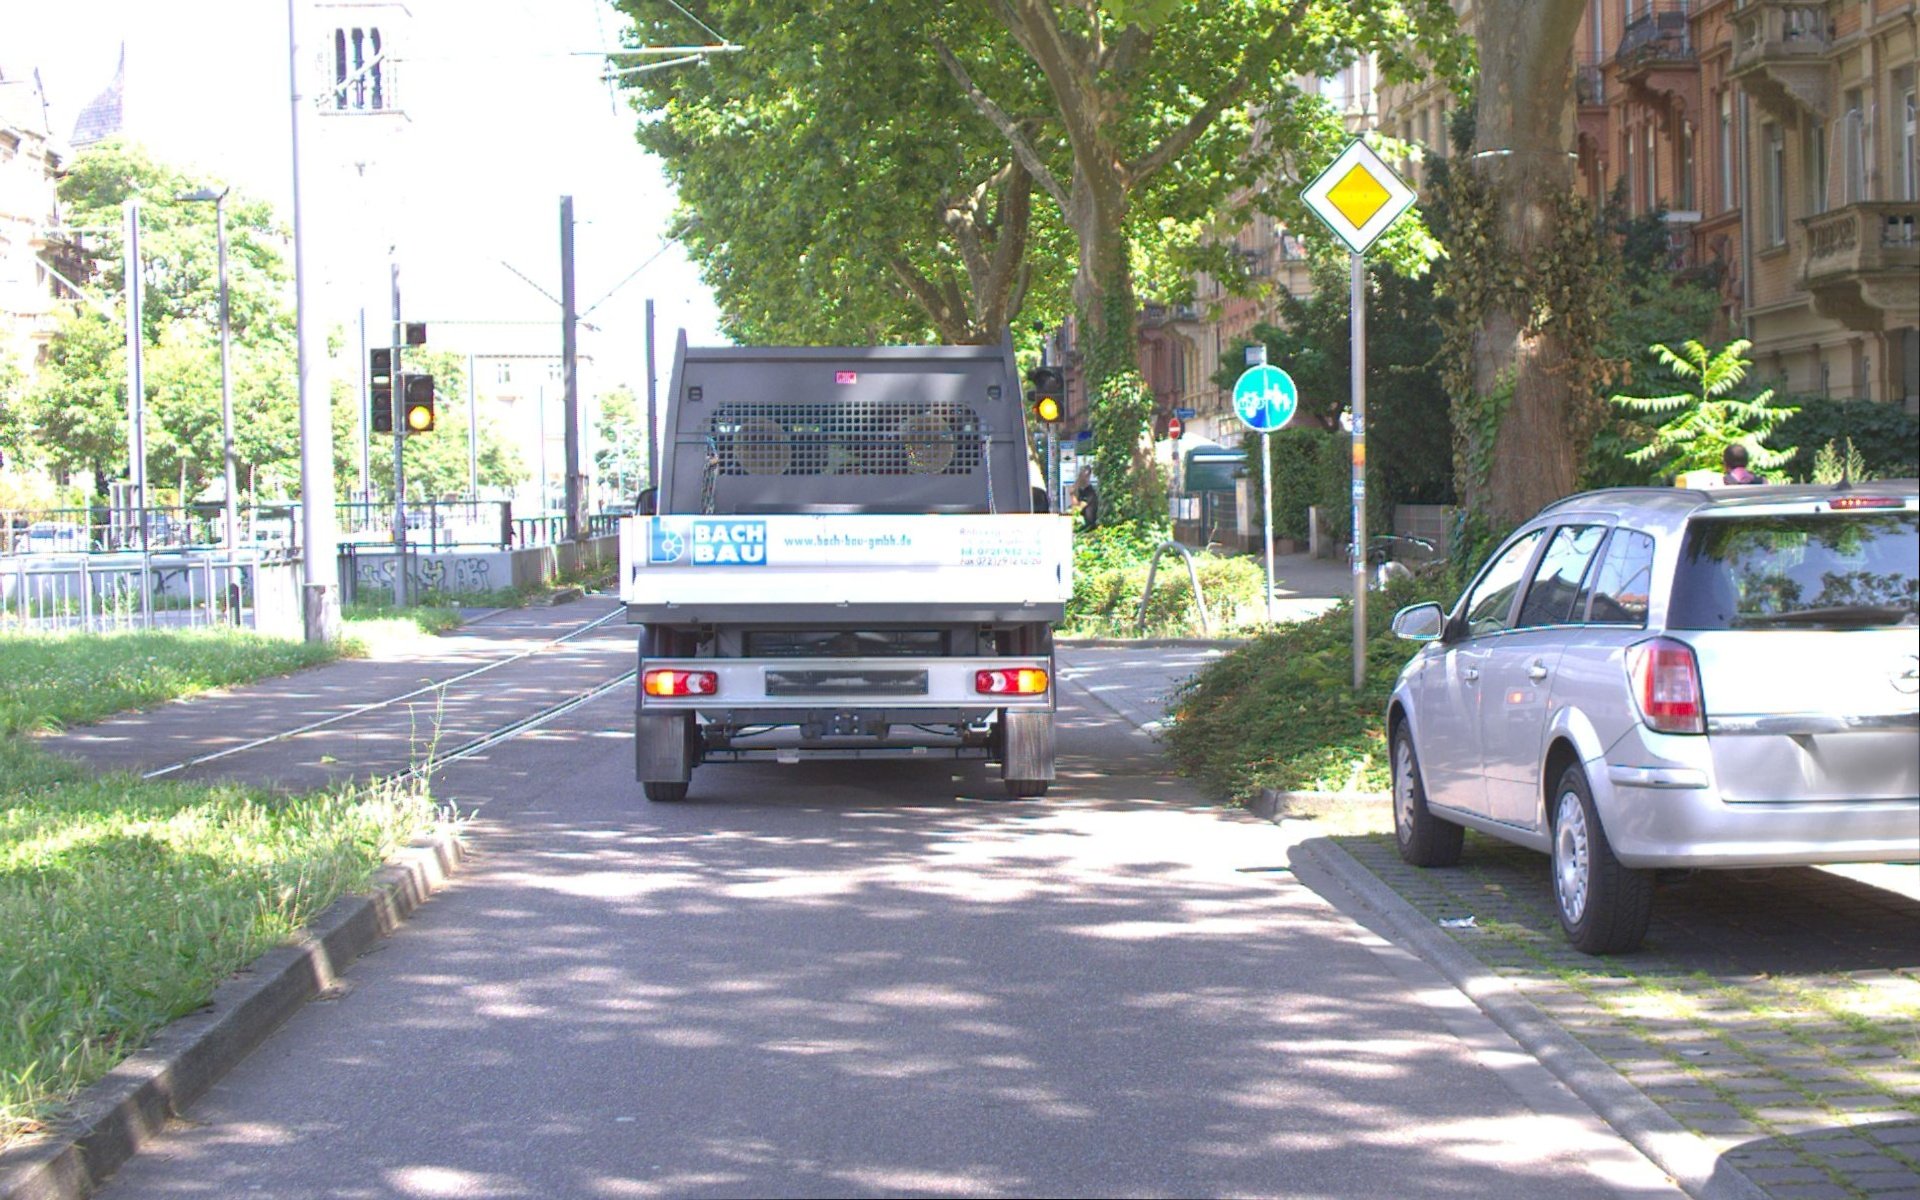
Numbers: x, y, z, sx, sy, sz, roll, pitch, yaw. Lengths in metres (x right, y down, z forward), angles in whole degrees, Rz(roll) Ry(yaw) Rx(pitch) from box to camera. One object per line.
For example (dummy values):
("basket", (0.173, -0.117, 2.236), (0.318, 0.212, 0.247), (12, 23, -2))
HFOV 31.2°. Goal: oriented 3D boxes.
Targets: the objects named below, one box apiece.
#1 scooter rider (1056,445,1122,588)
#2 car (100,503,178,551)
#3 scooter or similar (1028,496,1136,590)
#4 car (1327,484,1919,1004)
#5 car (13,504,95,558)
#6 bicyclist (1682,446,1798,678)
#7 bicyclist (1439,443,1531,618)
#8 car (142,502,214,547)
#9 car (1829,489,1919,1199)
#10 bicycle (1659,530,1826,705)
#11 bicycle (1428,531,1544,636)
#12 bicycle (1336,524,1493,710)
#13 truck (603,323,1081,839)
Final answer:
("scooter rider", (1.707, -1.102, 45.450), (0.666, 1.860, 0.664), (-2, 2, -14))
("car", (-26.767, -2.403, 112.153), (1.770, 1.493, 4.001), (-1, 2, -4))
("scooter or similar", (1.611, -0.764, 45.432), (1.266, 1.200, 0.657), (-2, 2, -14))
("car", (2.718, 0.352, 12.493), (1.833, 1.503, 4.493), (-2, 2, -6))
("car", (-26.011, -1.994, 98.800), (1.770, 1.493, 4.001), (-1, 2, -8))
("bicyclist", (5.371, -0.270, 23.694), (0.638, 1.568, 0.579), (-1, 2, -1))
("bicyclist", (4.769, -0.638, 31.266), (0.680, 1.558, 0.777), (-1, 2, -1))
("car", (-27.265, -2.643, 119.976), (1.770, 1.493, 4.001), (-1, 2, -4))
("car", (2.875, 0.569, 5.110), (1.833, 1.503, 4.644), (-2, 2, -2))
("bicycle", (5.382, 0.092, 23.764), (0.565, 1.108, 2.311), (-1, 2, -1))
("bicycle", (4.784, -0.165, 31.393), (0.675, 0.878, 2.163), (-1, 2, -1))
("bicycle", (2.875, 0.088, 21.648), (0.421, 1.101, 1.614), (0, 2, 28))
("truck", (-0.589, -0.153, 17.789), (2.138, 2.311, 4.402), (1, 2, -1))
